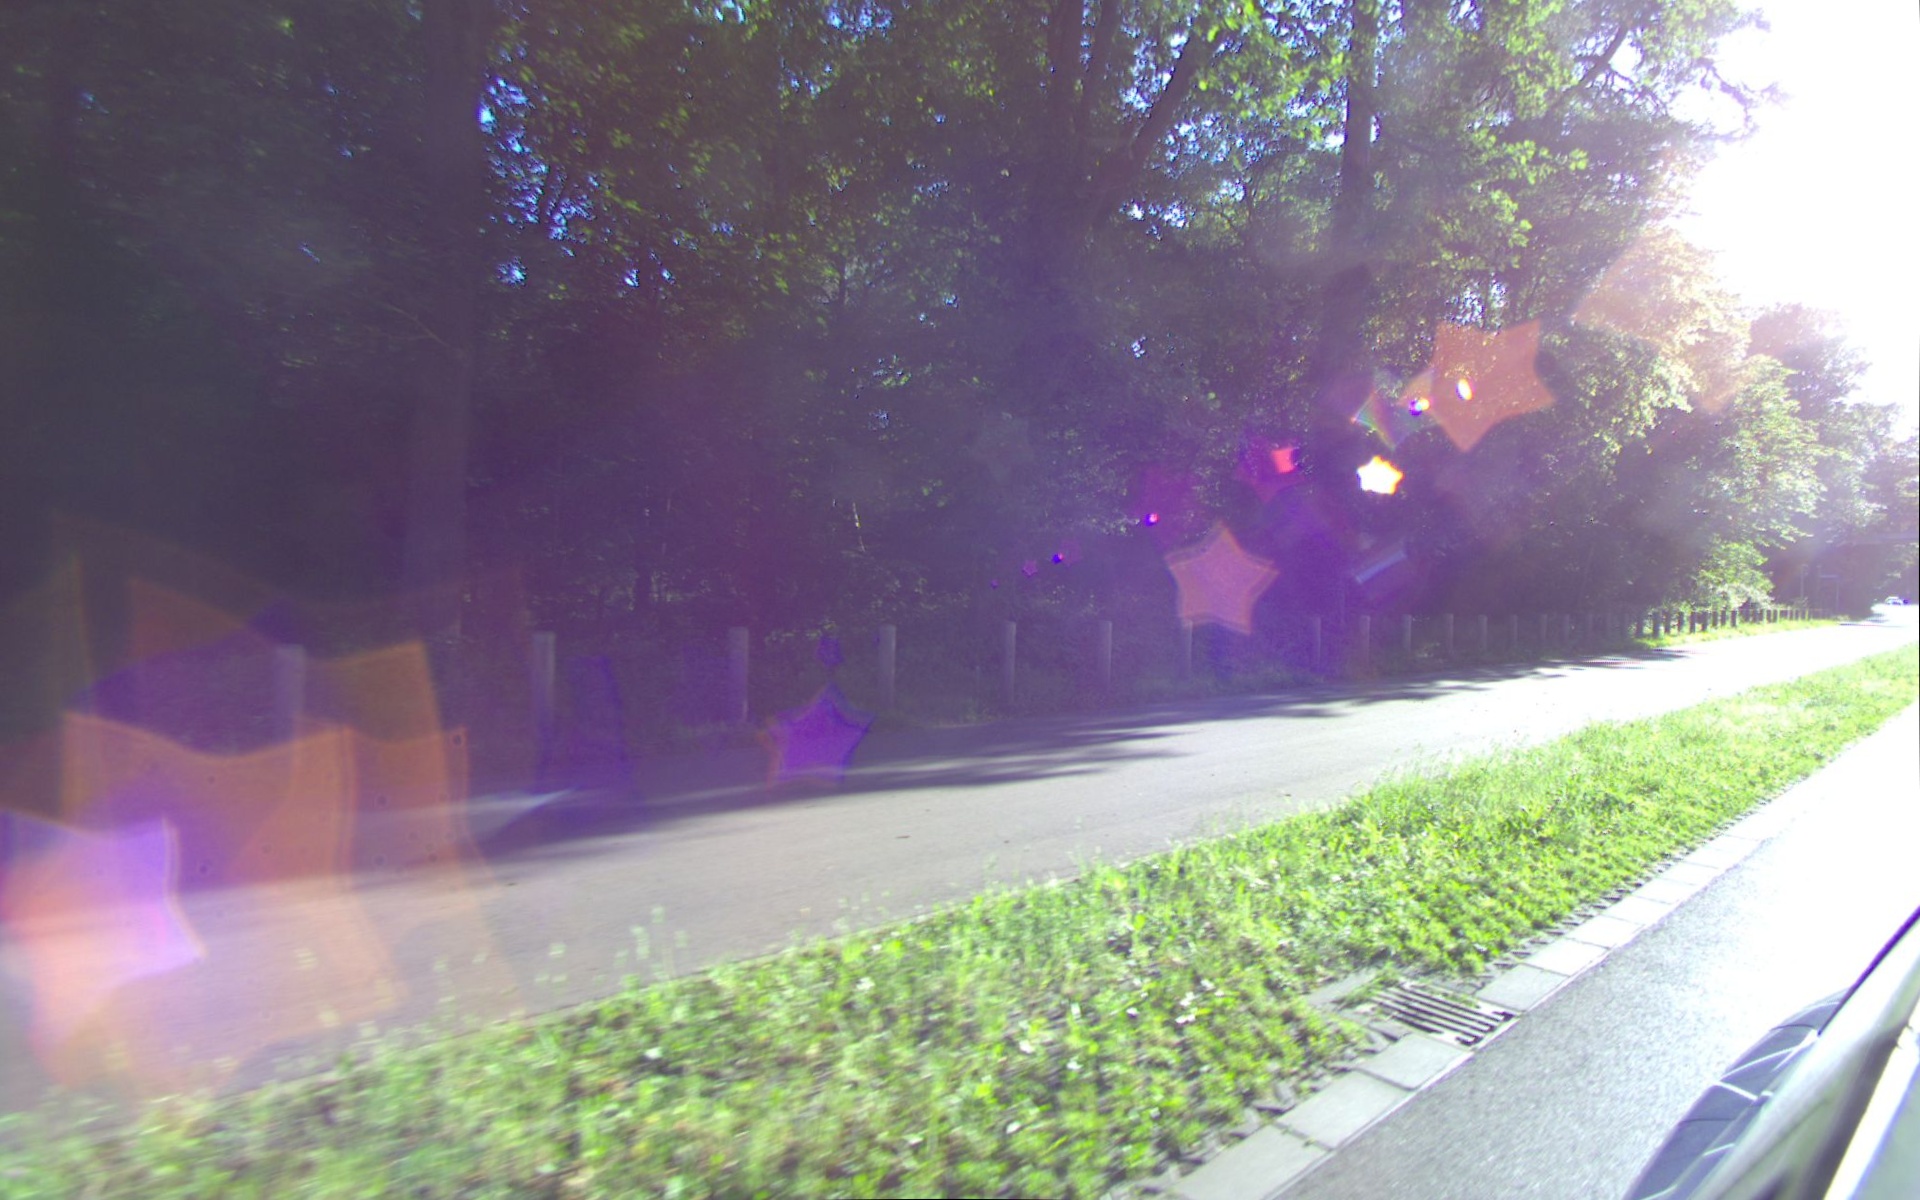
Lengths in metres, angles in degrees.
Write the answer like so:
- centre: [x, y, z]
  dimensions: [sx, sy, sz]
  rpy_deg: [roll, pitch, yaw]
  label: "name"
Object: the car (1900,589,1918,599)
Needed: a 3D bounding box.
- centre: [165.425, -1.082, 176.468]
  dimensions: [1.817, 1.705, 3.948]
  rpy_deg: [2, 2, 36]
  label: "car"
